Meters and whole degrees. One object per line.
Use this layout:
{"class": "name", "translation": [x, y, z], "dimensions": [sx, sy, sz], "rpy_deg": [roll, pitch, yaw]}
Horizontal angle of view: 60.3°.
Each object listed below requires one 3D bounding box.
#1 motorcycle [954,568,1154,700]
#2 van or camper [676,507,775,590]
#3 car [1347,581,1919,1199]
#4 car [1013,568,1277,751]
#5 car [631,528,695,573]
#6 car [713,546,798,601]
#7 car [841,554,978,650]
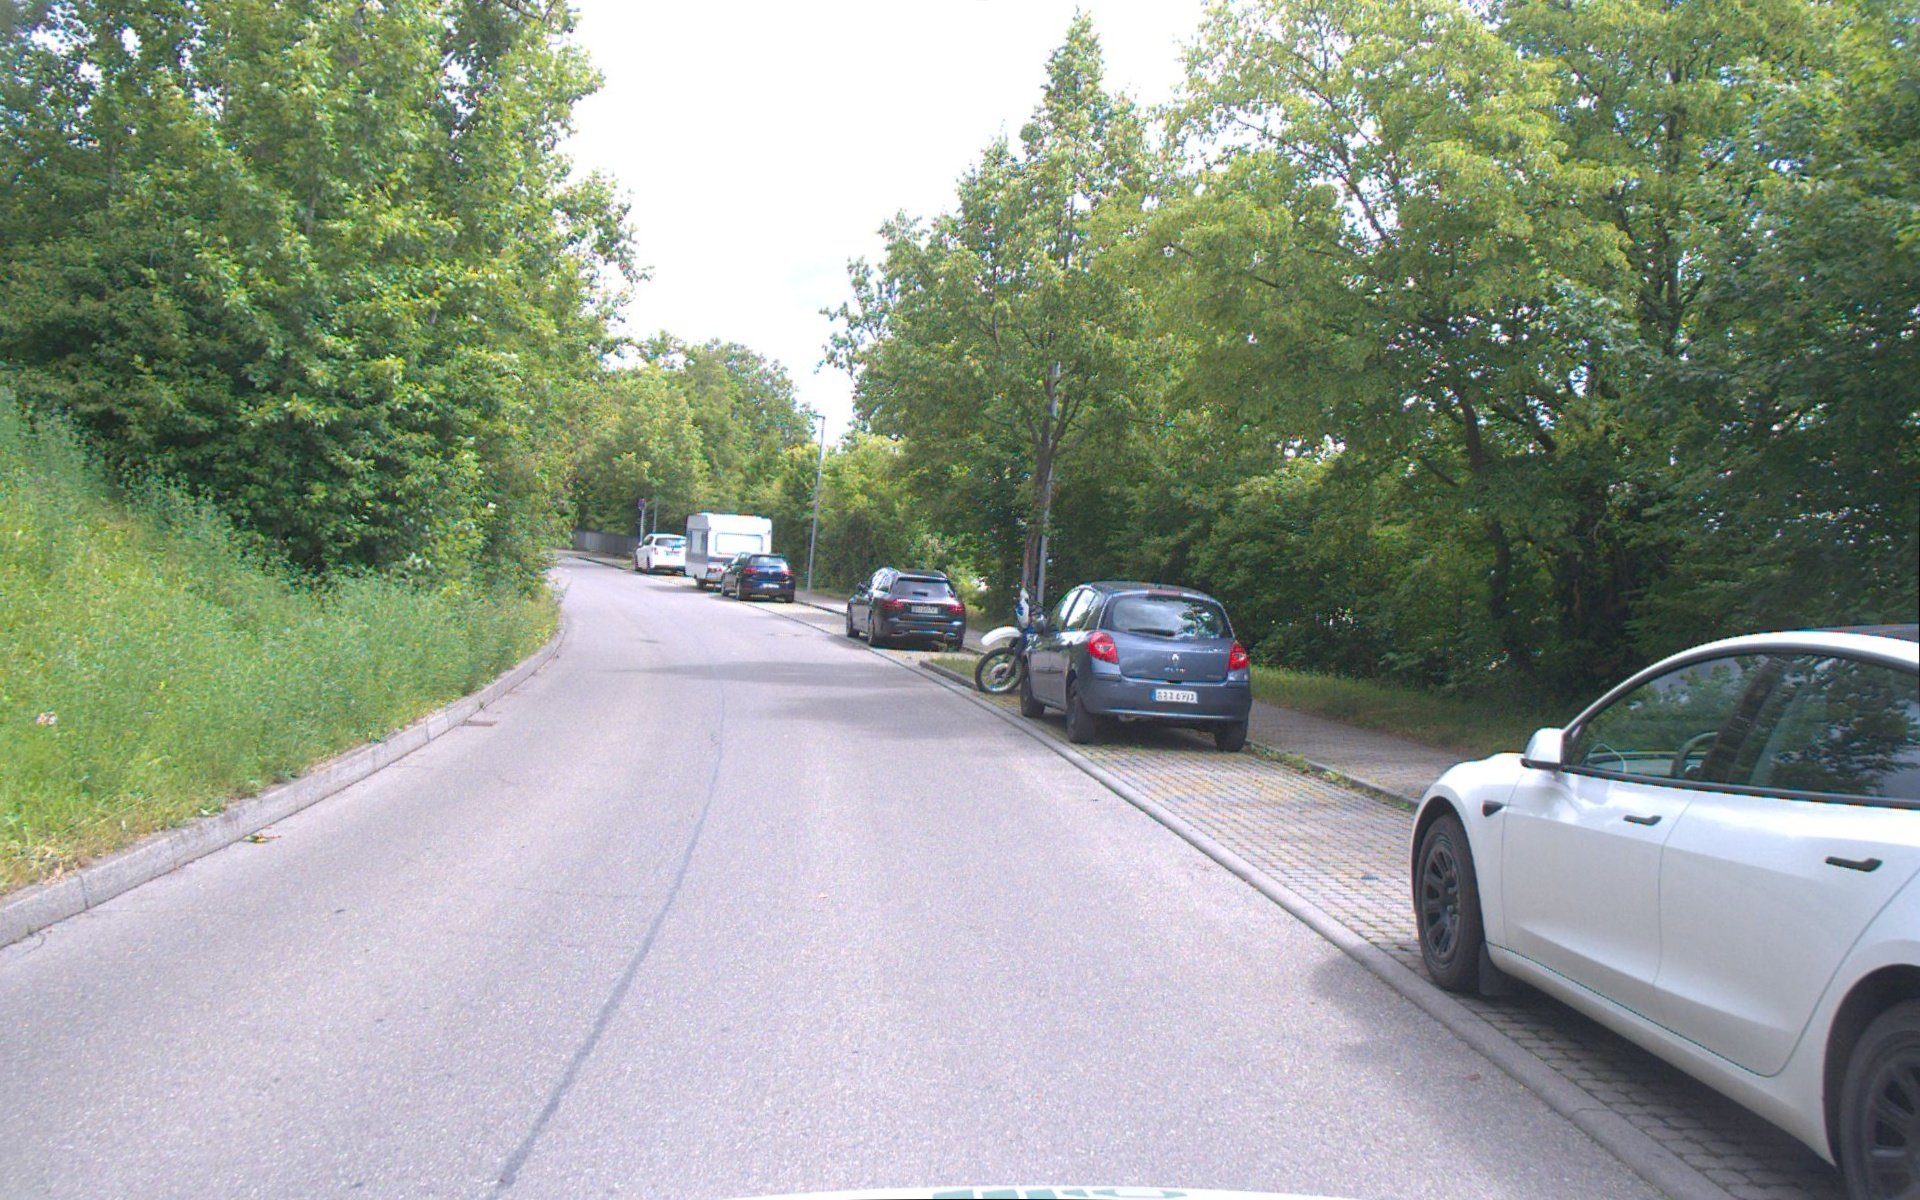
{"class": "motorcycle", "translation": [1.166, 0.392, 20.421], "dimensions": [2.257, 1.501, 0.976], "rpy_deg": [2, 1, 17]}
{"class": "van or camper", "translation": [-8.063, -1.798, 56.439], "dimensions": [2.319, 2.597, 5.047], "rpy_deg": [2, 2, -19]}
{"class": "car", "translation": [2.848, 0.738, 4.996], "dimensions": [1.826, 1.503, 4.897], "rpy_deg": [2, 1, -5]}
{"class": "car", "translation": [1.719, 0.510, 16.713], "dimensions": [1.735, 1.544, 4.102], "rpy_deg": [3, 0, -6]}
{"class": "car", "translation": [-12.332, -2.068, 68.461], "dimensions": [1.779, 1.627, 4.346], "rpy_deg": [2, 3, -21]}
{"class": "car", "translation": [-6.374, -0.854, 51.144], "dimensions": [1.657, 1.476, 4.456], "rpy_deg": [3, 2, -19]}
{"class": "car", "translation": [-1.073, -0.019, 32.246], "dimensions": [1.860, 1.556, 4.534], "rpy_deg": [3, 2, -12]}
